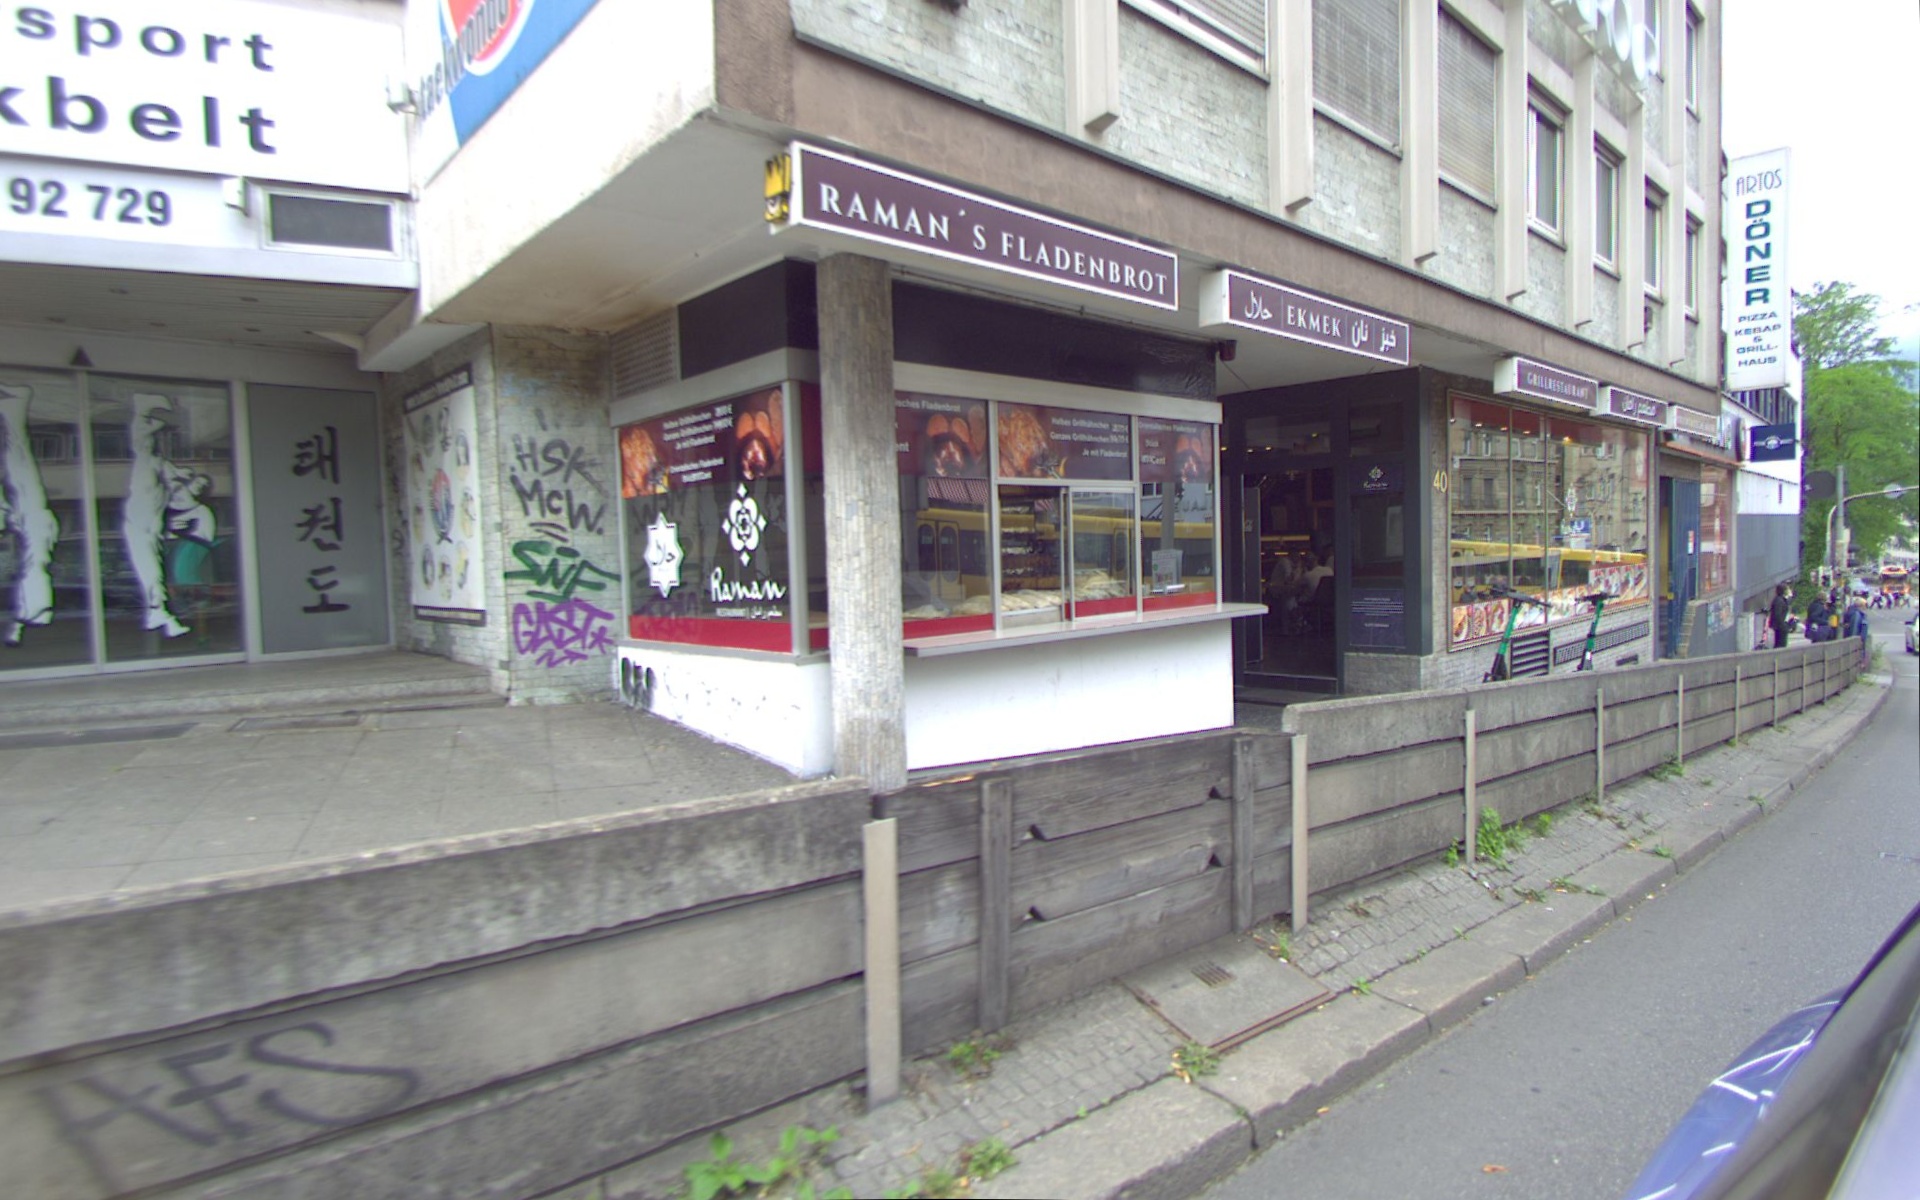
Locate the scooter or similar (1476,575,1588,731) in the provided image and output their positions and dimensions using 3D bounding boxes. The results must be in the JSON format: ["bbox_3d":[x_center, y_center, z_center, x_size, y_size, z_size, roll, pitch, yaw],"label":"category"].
[{"bbox_3d":[5.861,0.506,10.353,1.158,1.494,0.669,0,0,-42],"label":"scooter or similar"}]

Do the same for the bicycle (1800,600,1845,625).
[{"bbox_3d":[45.520,0.662,53.408,1.736,1.237,0.535,1,1,37],"label":"bicycle"}]

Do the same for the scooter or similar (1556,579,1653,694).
[{"bbox_3d":[7.504,0.397,11.763,1.310,1.265,0.631,0,0,-42],"label":"scooter or similar"}]

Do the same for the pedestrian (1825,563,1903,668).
[{"bbox_3d":[19.159,0.309,21.451,0.766,2.086,0.948,0,7,-45],"label":"pedestrian"}]

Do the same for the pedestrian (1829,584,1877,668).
[{"bbox_3d":[19.804,0.569,22.450,0.738,1.816,0.644,-1,-1,45],"label":"pedestrian"}]

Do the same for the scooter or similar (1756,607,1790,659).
[{"bbox_3d":[20.693,0.821,25.747,0.962,1.292,0.429,1,0,-36],"label":"scooter or similar"}]

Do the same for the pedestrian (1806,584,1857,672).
[{"bbox_3d":[17.226,0.541,19.999,0.562,1.671,0.581,8,5,44],"label":"pedestrian"}]

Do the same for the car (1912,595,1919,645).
[{"bbox_3d":[31.068,0.626,31.610,1.663,1.549,3.942,-3,-1,40],"label":"car"}]

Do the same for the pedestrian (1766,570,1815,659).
[{"bbox_3d":[17.577,0.291,21.422,0.643,1.831,0.727,1,0,-45],"label":"pedestrian"}]

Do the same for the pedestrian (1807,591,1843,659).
[{"bbox_3d":[23.800,0.673,27.846,0.720,1.808,0.870,-1,-1,42],"label":"pedestrian"}]
